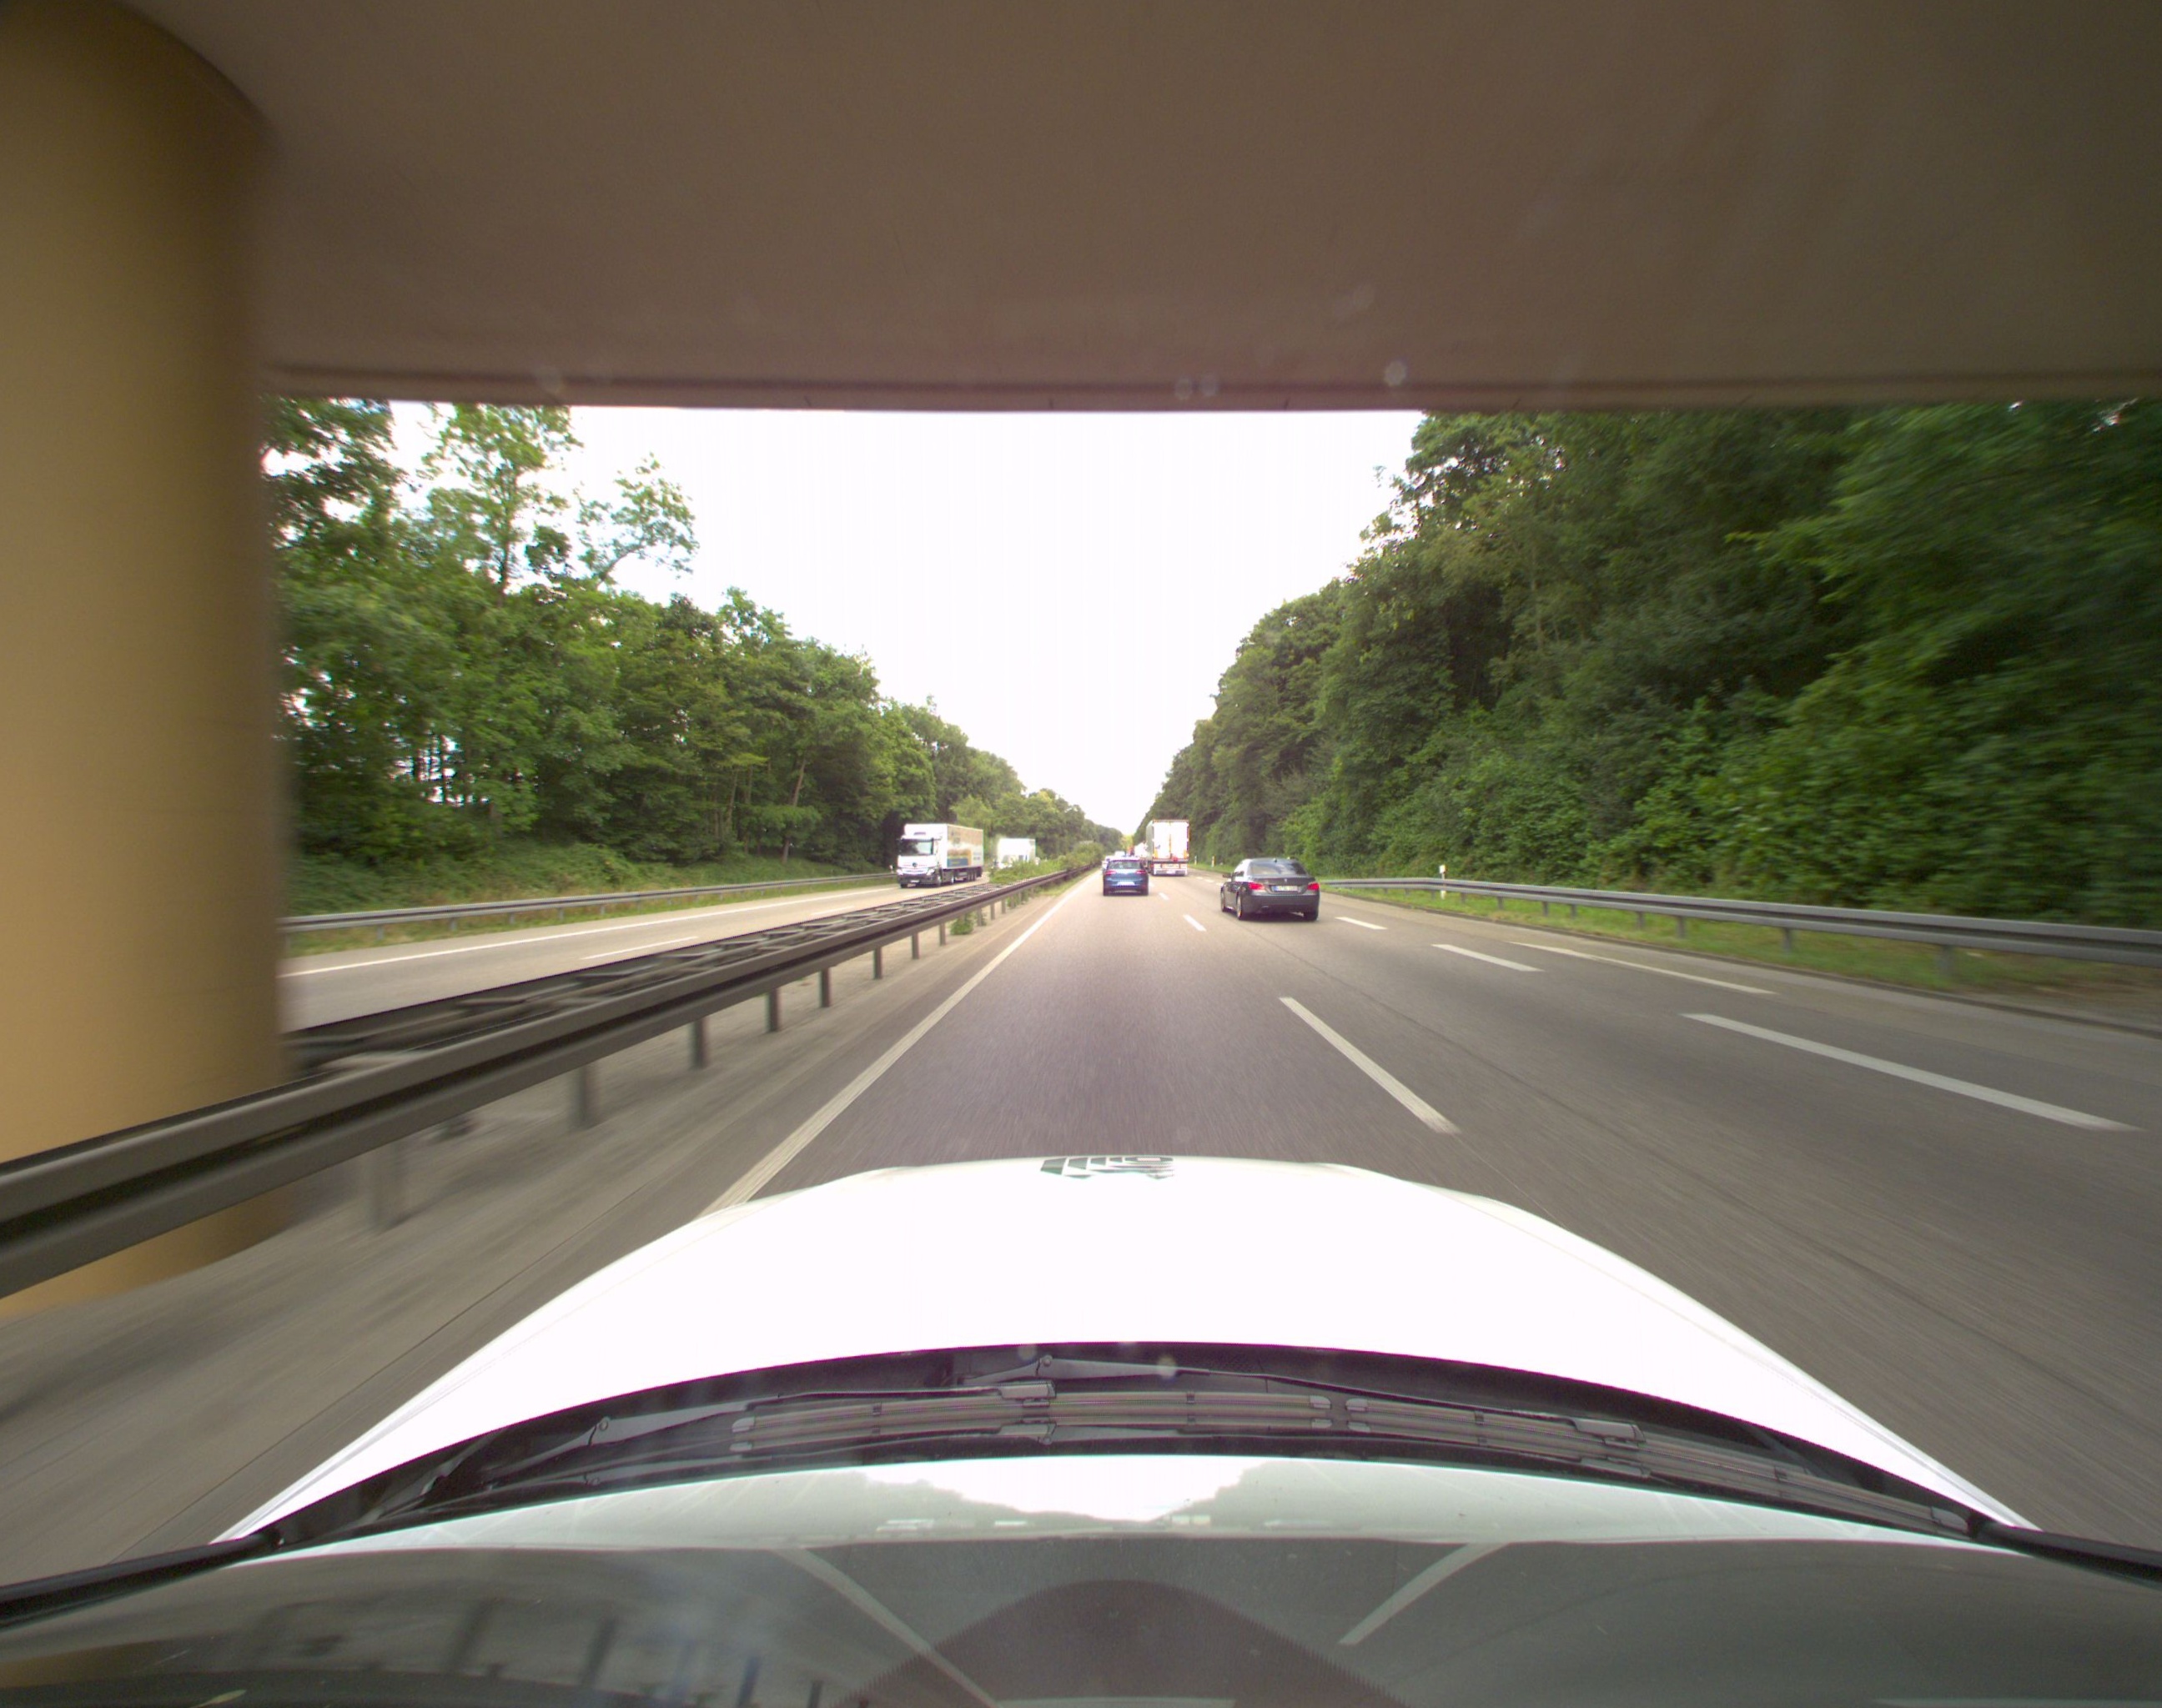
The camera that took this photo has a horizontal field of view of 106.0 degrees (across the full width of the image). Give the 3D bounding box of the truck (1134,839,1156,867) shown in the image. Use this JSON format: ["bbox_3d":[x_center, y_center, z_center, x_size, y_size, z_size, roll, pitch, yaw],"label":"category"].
[{"bbox_3d":[10.390,-0.069,133.947,3.219,4.386,12.978,-1,-1,3],"label":"truck"}]

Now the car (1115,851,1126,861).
[{"bbox_3d":[8.557,0.411,177.071,1.987,2.255,4.442,-2,0,0],"label":"car"}]

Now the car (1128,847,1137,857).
[{"bbox_3d":[12.449,-0.369,197.231,1.987,2.327,4.442,-2,0,0],"label":"car"}]

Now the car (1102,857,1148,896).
[{"bbox_3d":[1.727,0.839,32.171,1.698,1.470,4.002,0,0,2],"label":"car"}]

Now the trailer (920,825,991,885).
[{"bbox_3d":[-9.102,0.102,60.417,3.046,4.042,9.983,-1,-1,4],"label":"trailer"}]

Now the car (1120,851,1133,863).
[{"bbox_3d":[7.504,0.486,134.112,1.946,2.013,4.002,-2,0,2],"label":"car"}]

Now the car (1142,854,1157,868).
[{"bbox_3d":[8.998,0.955,107.443,1.881,1.729,4.003,-2,0,3],"label":"car"}]

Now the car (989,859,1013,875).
[{"bbox_3d":[-8.038,1.275,81.954,1.727,1.473,4.473,-2,0,3],"label":"car"}]

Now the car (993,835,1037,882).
[{"bbox_3d":[-4.795,0.321,60.332,2.279,3.232,7.290,-2,0,2],"label":"car"}]

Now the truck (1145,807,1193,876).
[{"bbox_3d":[6.621,-0.905,62.206,3.226,4.716,11.022,-2,0,5],"label":"truck"}]

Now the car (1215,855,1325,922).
[{"bbox_3d":[4.554,0.758,20.336,1.767,1.475,4.883,0,0,2],"label":"car"}]

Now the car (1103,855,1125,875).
[{"bbox_3d":[2.691,0.854,65.829,1.658,1.500,4.155,-1,0,3],"label":"car"}]

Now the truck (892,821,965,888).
[{"bbox_3d":[-9.625,0.050,52.111,3.027,3.986,6.754,-1,0,3],"label":"truck"}]
